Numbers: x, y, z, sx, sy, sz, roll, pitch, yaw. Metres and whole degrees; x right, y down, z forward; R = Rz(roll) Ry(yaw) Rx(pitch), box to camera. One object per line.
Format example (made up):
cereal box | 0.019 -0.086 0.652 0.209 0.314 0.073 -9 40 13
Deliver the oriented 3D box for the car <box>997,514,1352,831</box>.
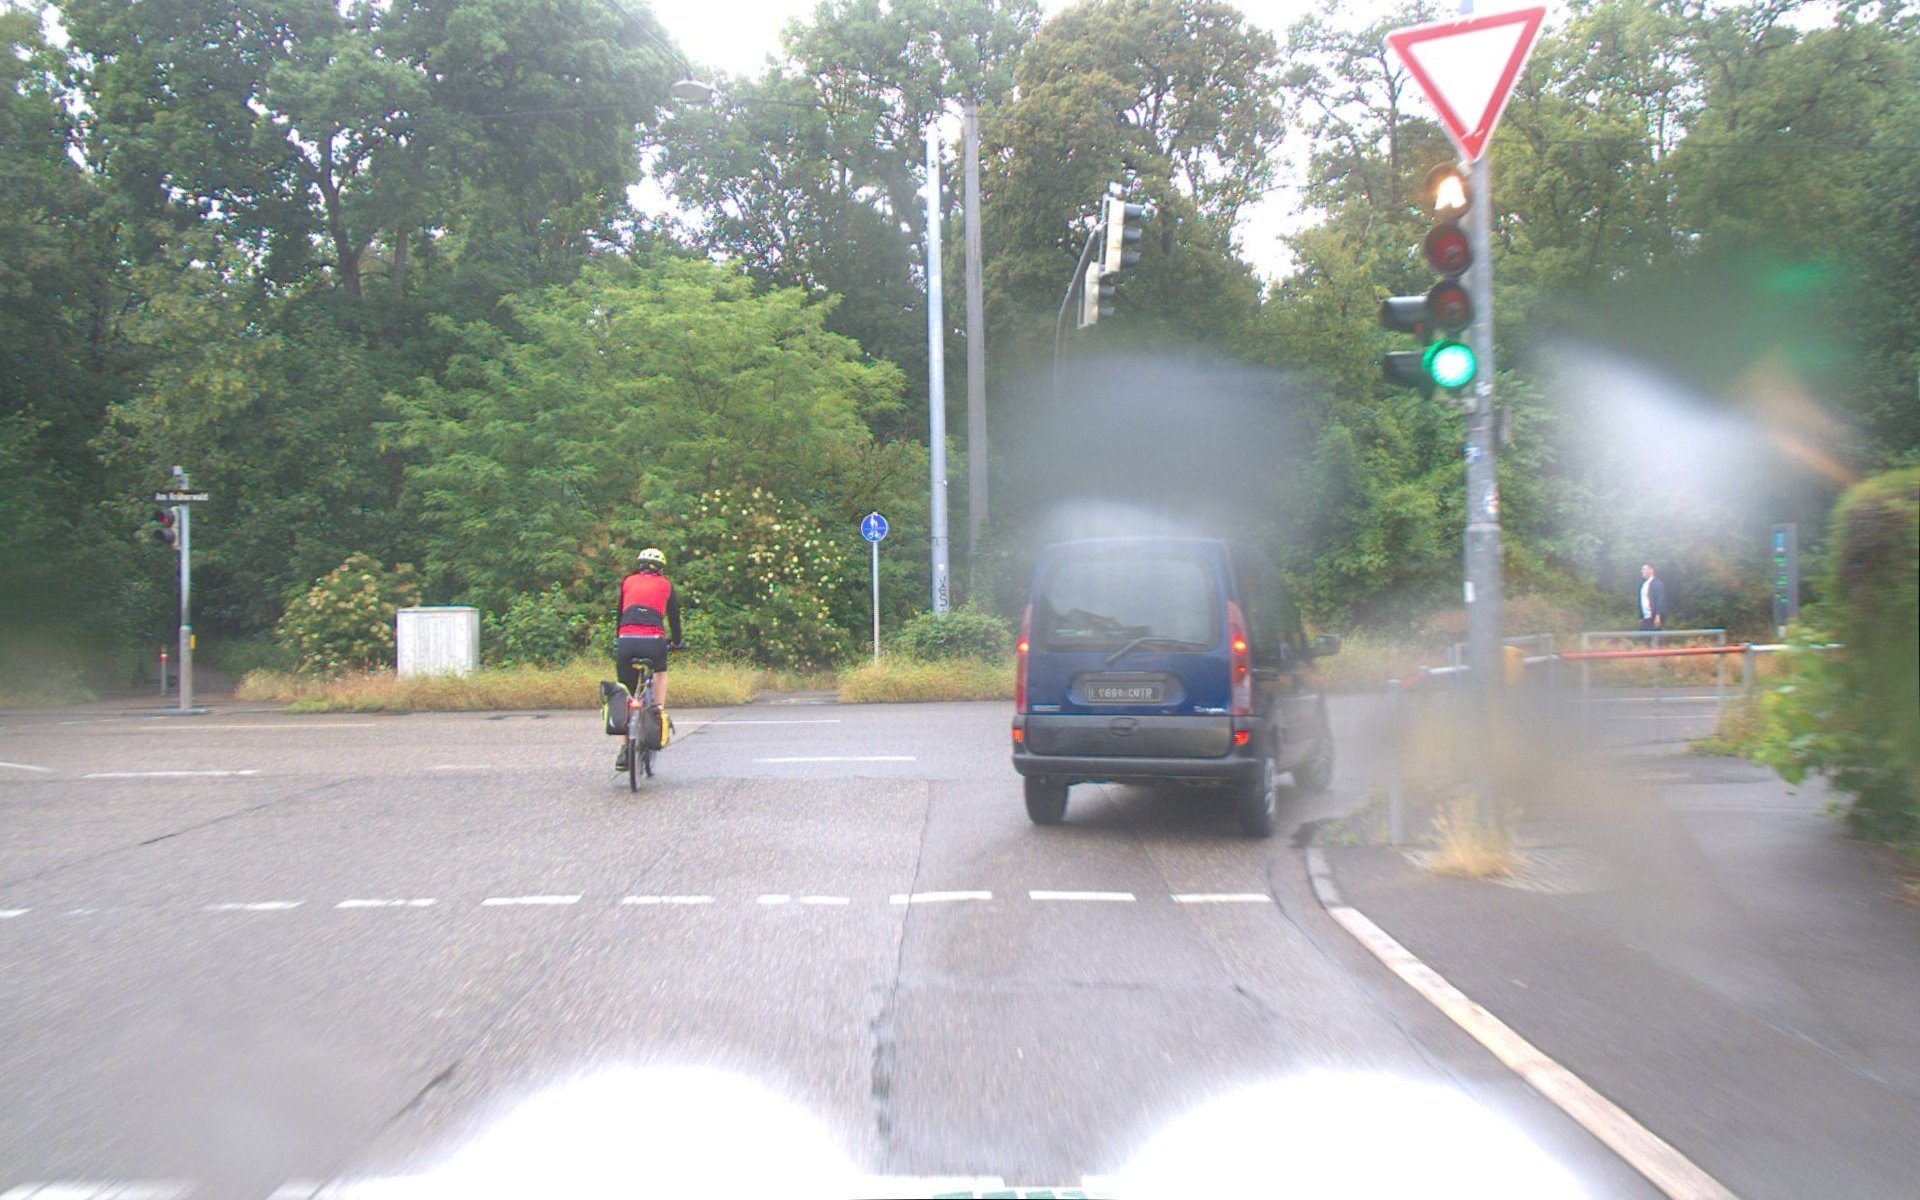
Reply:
car | 1.692 0.433 11.713 1.771 1.829 4.002 -1 0 18

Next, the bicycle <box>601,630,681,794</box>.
bicycle | -2.512 0.831 13.089 0.568 1.115 2.149 0 1 -11

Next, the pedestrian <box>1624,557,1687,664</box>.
pedestrian | 12.136 0.186 28.864 0.745 1.831 0.778 -1 0 -1

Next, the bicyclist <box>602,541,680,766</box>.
bicyclist | -2.494 0.393 12.963 0.568 1.681 1.046 0 0 -11
